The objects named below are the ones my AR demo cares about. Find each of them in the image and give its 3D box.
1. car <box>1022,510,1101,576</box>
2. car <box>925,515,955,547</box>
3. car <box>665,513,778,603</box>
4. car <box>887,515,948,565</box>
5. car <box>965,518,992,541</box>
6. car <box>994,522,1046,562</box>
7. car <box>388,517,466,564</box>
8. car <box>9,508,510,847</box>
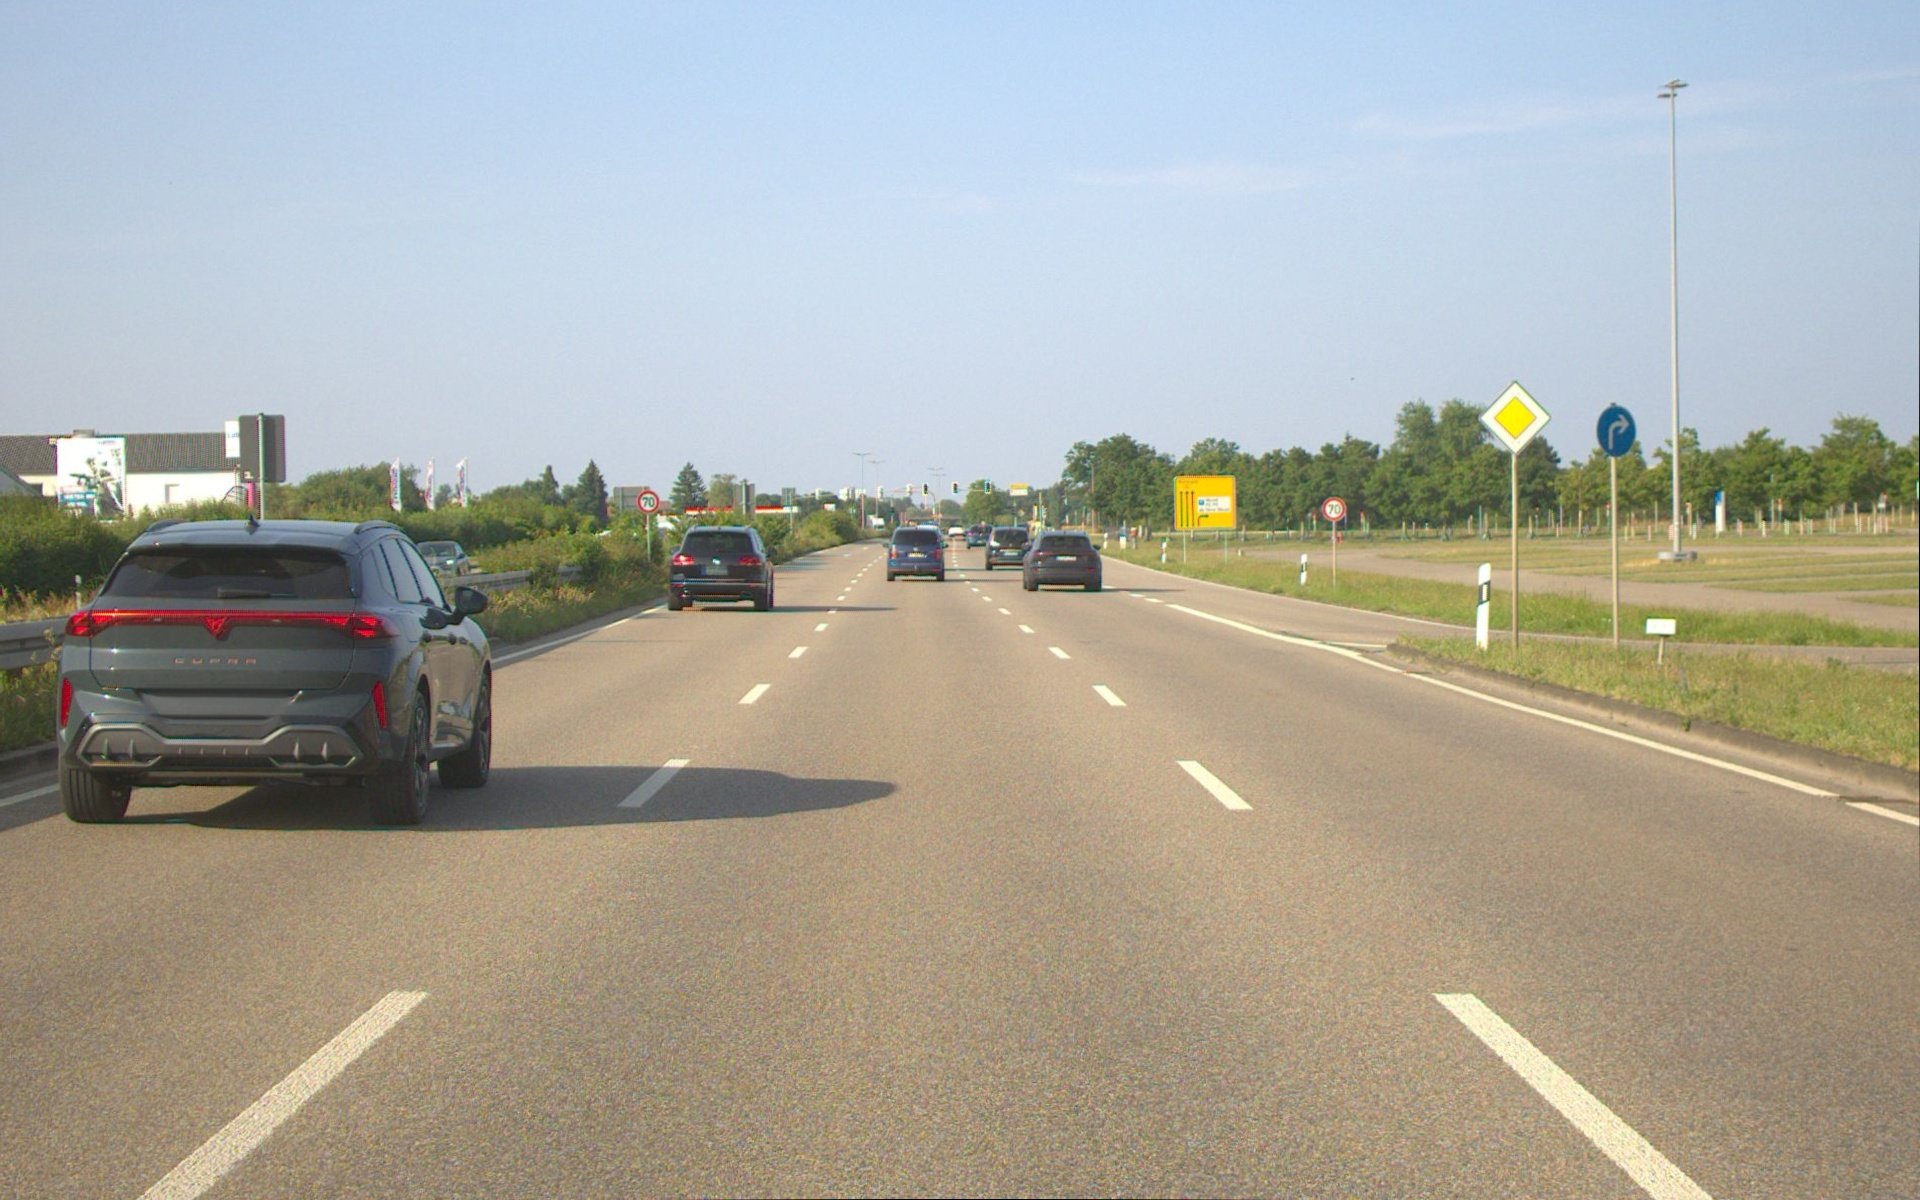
[{"bbox_3d":[2.697,-1.547,91.980,1.932,1.674,4.401,2,1,0],"label":"car"},{"bbox_3d":[-1.131,-3.833,190.303,1.645,1.722,3.401,1,1,-1],"label":"car"},{"bbox_3d":[-4.736,-0.866,68.735,1.932,1.674,4.401,2,1,0],"label":"car"},{"bbox_3d":[-1.311,-1.879,106.562,1.813,1.458,4.401,2,1,0],"label":"car"},{"bbox_3d":[1.093,-4.216,204.493,1.503,1.309,3.156,2,1,0],"label":"car"},{"bbox_3d":[2.271,-2.216,130.981,1.873,1.458,3.981,2,1,0],"label":"car"},{"bbox_3d":[-16.663,-1.860,107.695,1.779,1.419,4.000,-1,1,0],"label":"car"},{"bbox_3d":[-3.710,0.324,18.988,1.845,1.606,4.401,2,1,0],"label":"car"}]
